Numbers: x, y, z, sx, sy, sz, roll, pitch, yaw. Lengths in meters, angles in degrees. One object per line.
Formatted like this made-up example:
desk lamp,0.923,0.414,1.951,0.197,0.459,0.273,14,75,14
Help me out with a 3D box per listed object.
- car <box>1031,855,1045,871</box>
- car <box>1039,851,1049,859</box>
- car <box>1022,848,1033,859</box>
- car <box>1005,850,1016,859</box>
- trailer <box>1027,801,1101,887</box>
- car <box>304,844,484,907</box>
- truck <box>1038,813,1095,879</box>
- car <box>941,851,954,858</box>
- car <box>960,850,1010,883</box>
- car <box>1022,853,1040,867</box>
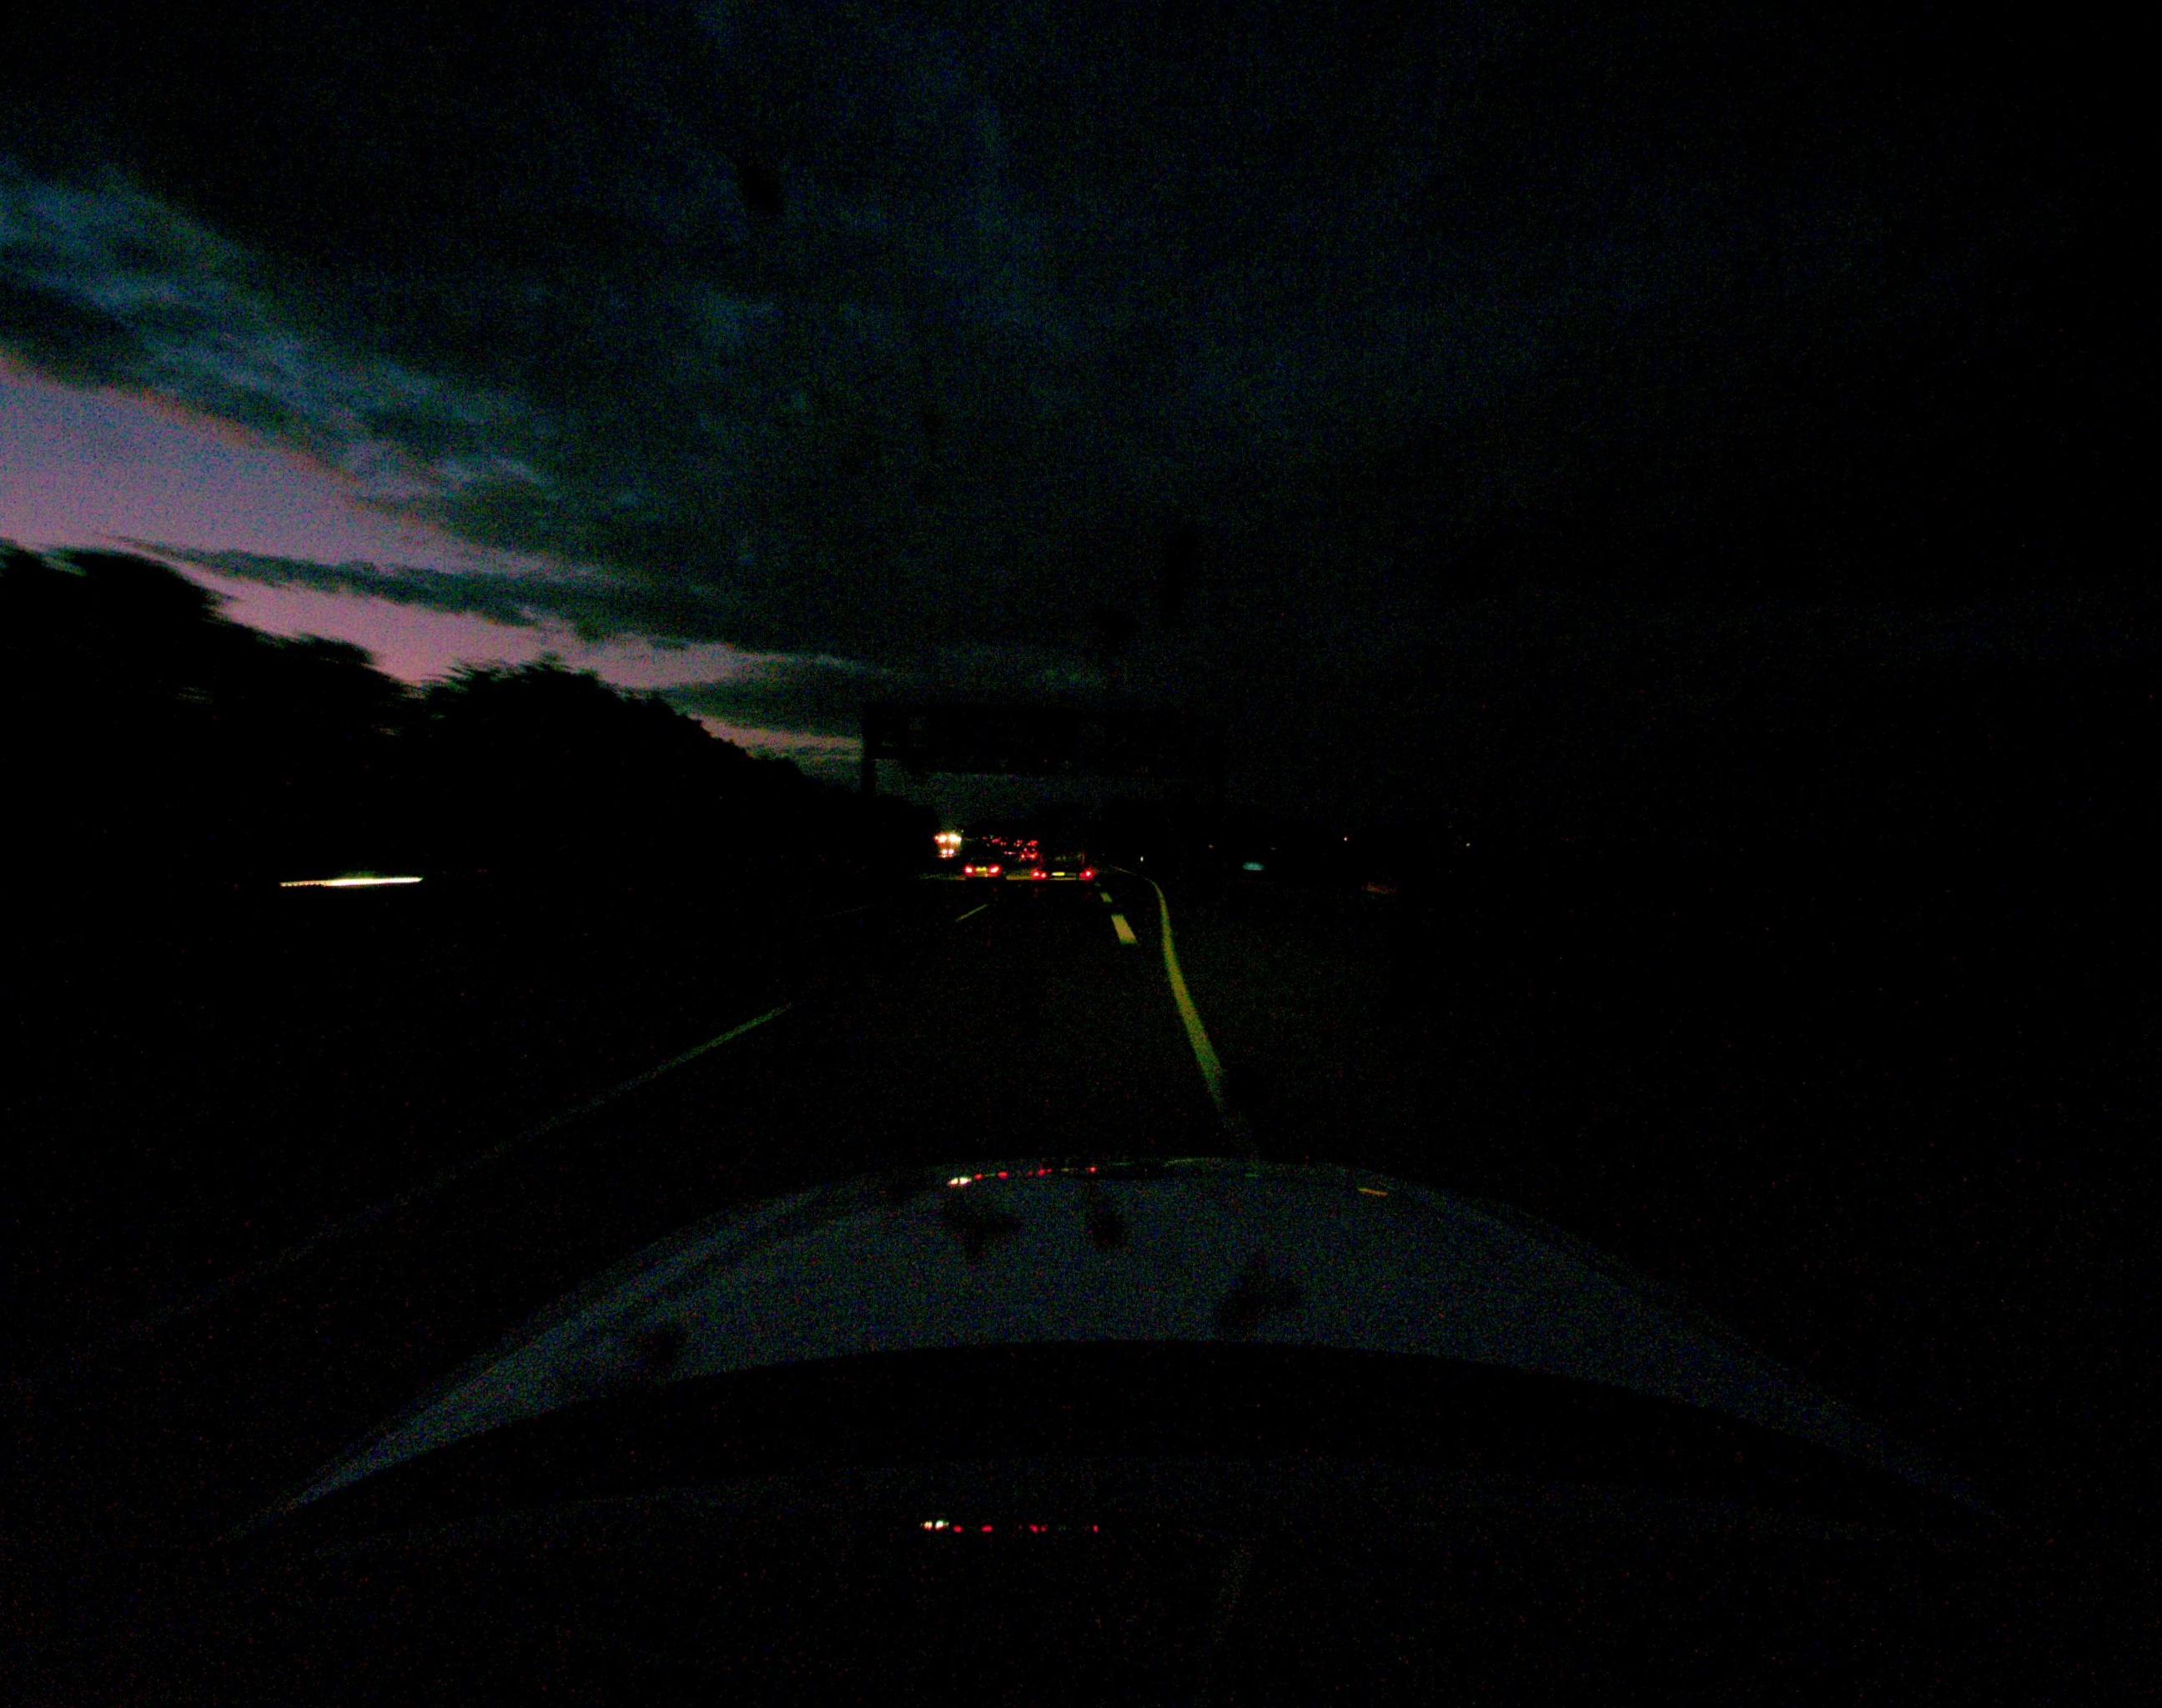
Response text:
car,-6.624,1.344,125.388,1.990,2.381,3.993,1,-2,-5
car,-7.897,0.247,172.616,1.989,1.534,3.994,1,-1,-4
car,-11.136,-0.100,169.765,1.987,2.014,4.000,1,-1,1
car,-12.787,0.114,147.286,1.757,1.575,4.572,1,-1,-2
trailer,-0.862,-0.513,46.888,3.539,4.116,15.059,-1,0,0
car,-22.626,0.708,27.129,1.988,1.893,4.676,1,-1,-1
truck,-0.910,-0.541,54.164,3.540,4.091,6.150,-1,0,-1
car,-26.244,0.061,159.895,1.988,1.419,4.150,1,0,-1
car,-4.966,0.684,42.767,1.900,1.614,4.804,1,-1,1
car,-6.599,0.833,107.836,2.059,1.686,4.574,1,-1,-1
